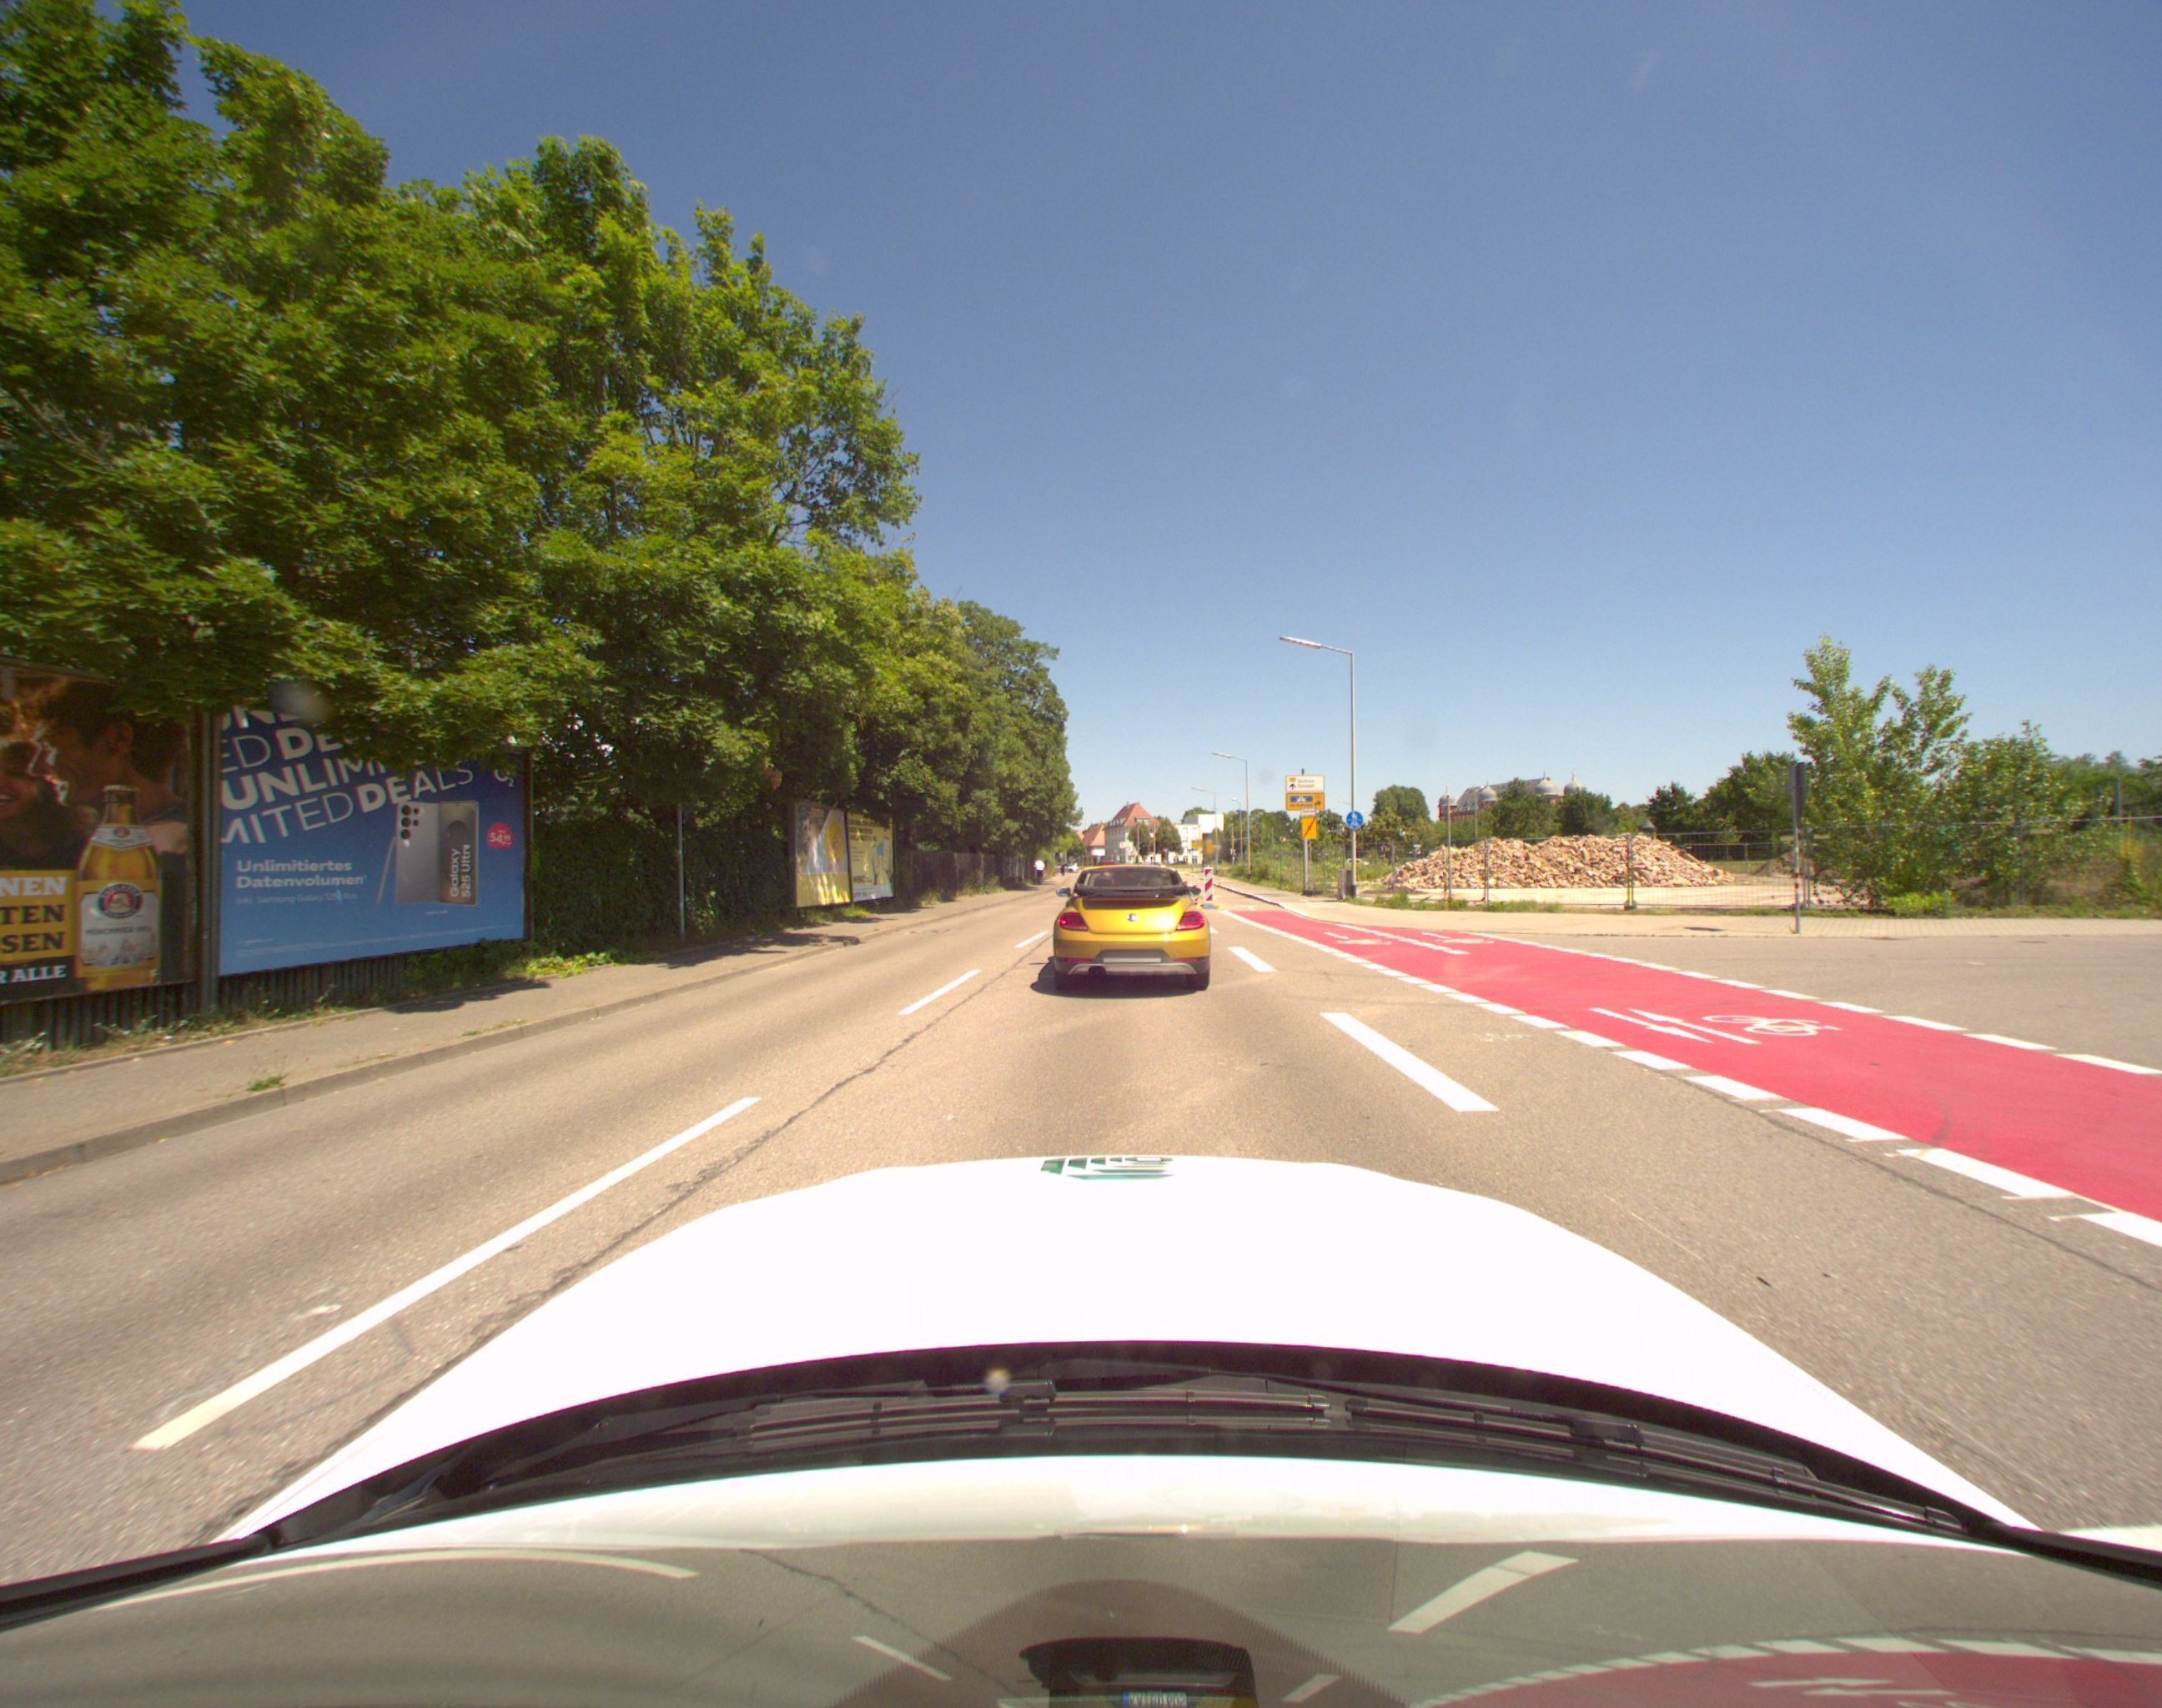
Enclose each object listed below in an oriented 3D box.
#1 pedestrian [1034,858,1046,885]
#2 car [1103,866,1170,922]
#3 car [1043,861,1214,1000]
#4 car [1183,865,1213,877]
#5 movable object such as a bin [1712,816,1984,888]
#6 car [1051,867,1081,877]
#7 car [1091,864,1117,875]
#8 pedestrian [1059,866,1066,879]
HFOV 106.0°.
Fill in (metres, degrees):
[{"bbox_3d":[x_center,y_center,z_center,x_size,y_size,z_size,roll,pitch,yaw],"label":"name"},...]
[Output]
[{"bbox_3d":[-2.741,1.168,54.637,0.720,1.725,0.818,-1,-1,1],"label":"pedestrian"},{"bbox_3d":[1.630,1.087,23.338,1.718,1.443,4.005,-1,-1,5],"label":"car"},{"bbox_3d":[0.616,0.832,10.530,1.782,1.437,3.817,-1,-1,3],"label":"car"},{"bbox_3d":[16.674,2.411,116.225,3.957,1.613,1.798,-2,-1,15],"label":"car"},{"bbox_3d":[39.846,-0.003,43.272,4.918,3.260,10.477,-1,-1,3],"label":"movable object such as a bin"},{"bbox_3d":[-2.368,2.805,126.028,4.412,1.358,1.541,-1,-1,10],"label":"car"},{"bbox_3d":[3.760,2.489,132.134,4.038,1.677,1.789,-1,-1,10],"label":"car"},{"bbox_3d":[-2.095,2.097,92.691,0.720,1.454,0.818,-1,-1,1],"label":"pedestrian"}]
